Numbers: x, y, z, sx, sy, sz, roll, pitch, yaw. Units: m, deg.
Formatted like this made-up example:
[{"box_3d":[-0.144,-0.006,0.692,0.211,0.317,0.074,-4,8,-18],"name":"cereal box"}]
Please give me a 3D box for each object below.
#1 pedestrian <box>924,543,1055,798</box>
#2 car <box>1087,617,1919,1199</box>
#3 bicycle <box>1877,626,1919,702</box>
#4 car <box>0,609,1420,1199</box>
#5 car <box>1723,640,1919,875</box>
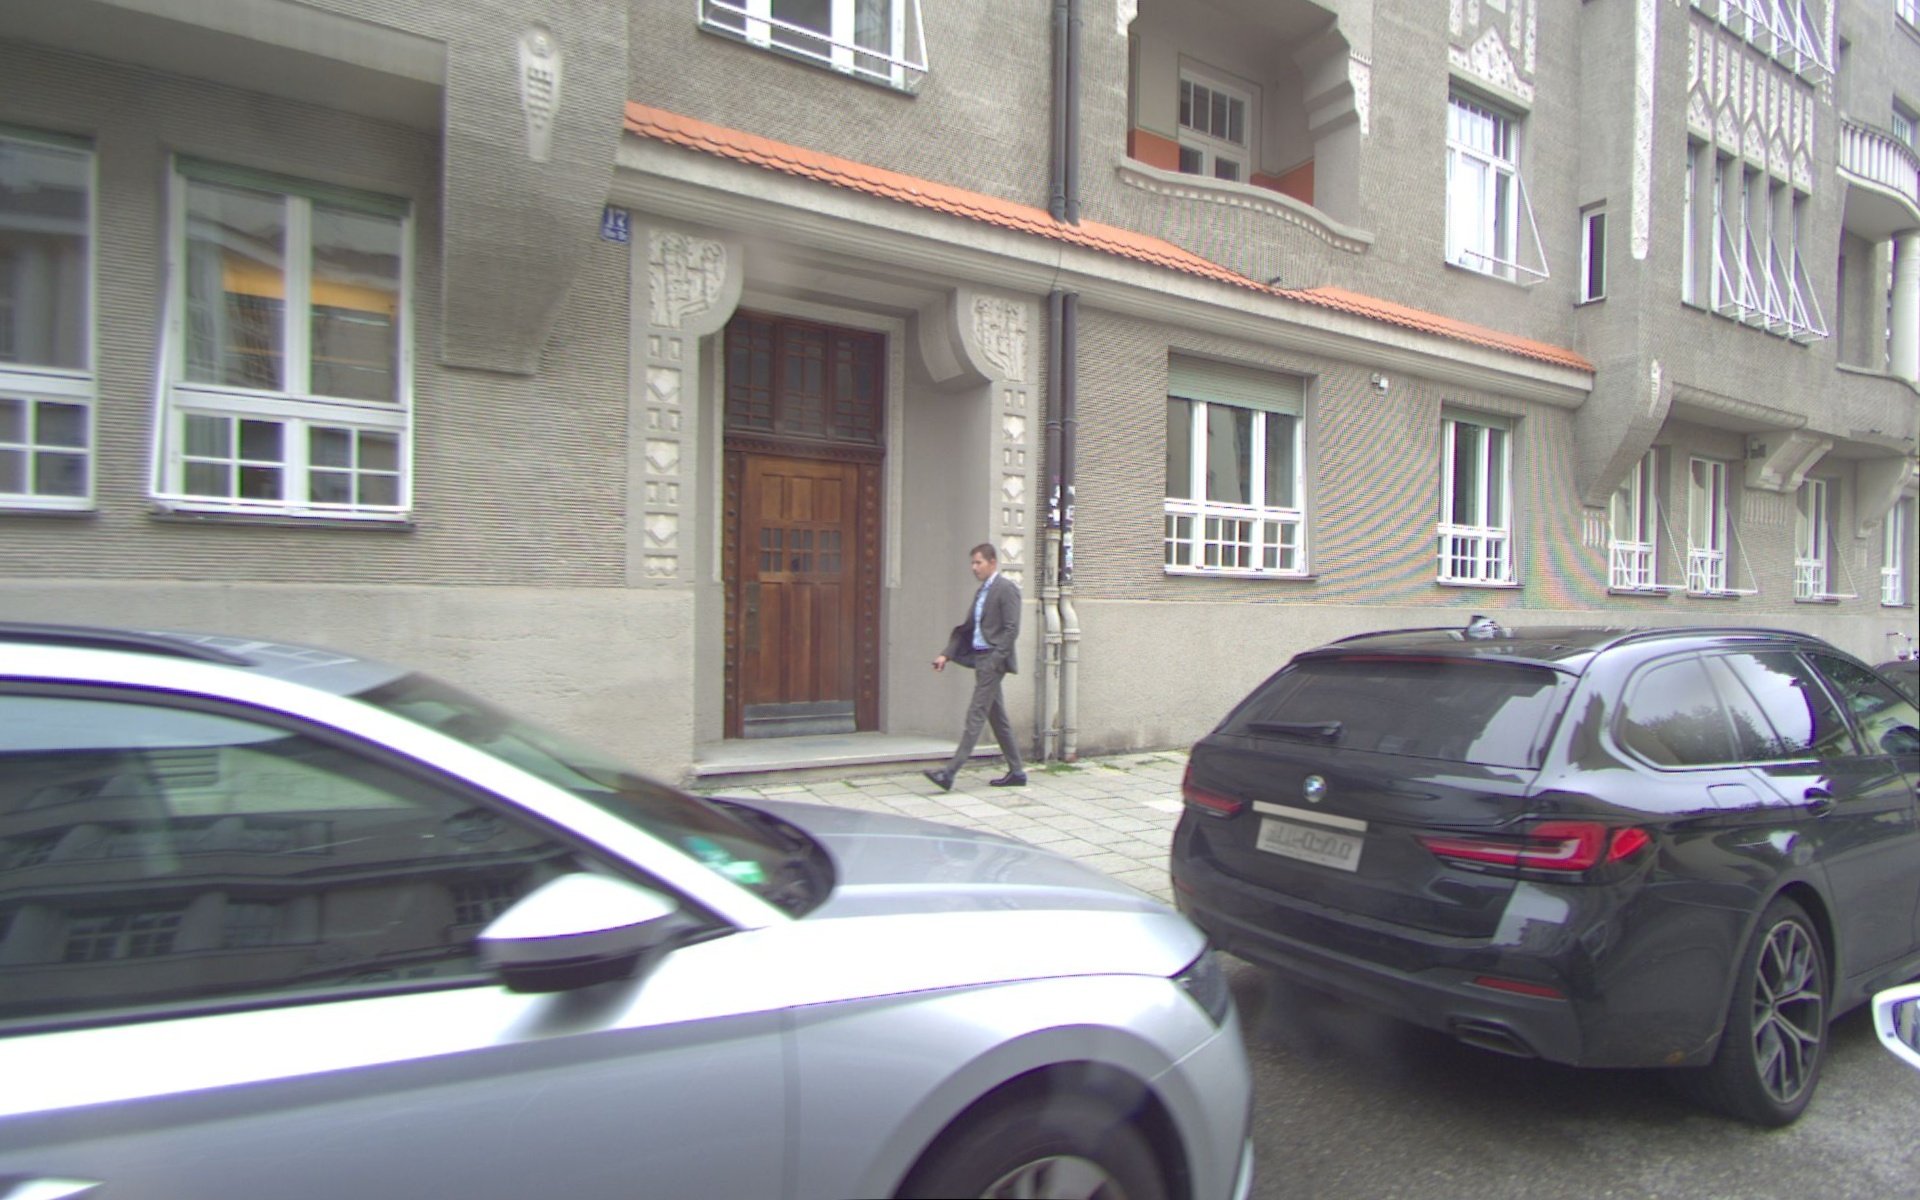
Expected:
[{"box_3d":[0.219,0.511,7.729,0.722,1.841,0.713,1,0,-31],"name":"pedestrian"},{"box_3d":[3.028,0.834,4.478,4.726,1.467,1.983,1,-1,-32],"name":"car"},{"box_3d":[18.105,1.194,19.116,1.658,1.367,0.614,1,0,-35],"name":"bicycle"},{"box_3d":[-1.357,0.758,1.853,4.385,1.450,1.798,1,-2,-29],"name":"car"},{"box_3d":[7.387,0.991,7.102,4.048,1.349,1.747,1,-1,-30],"name":"car"}]
